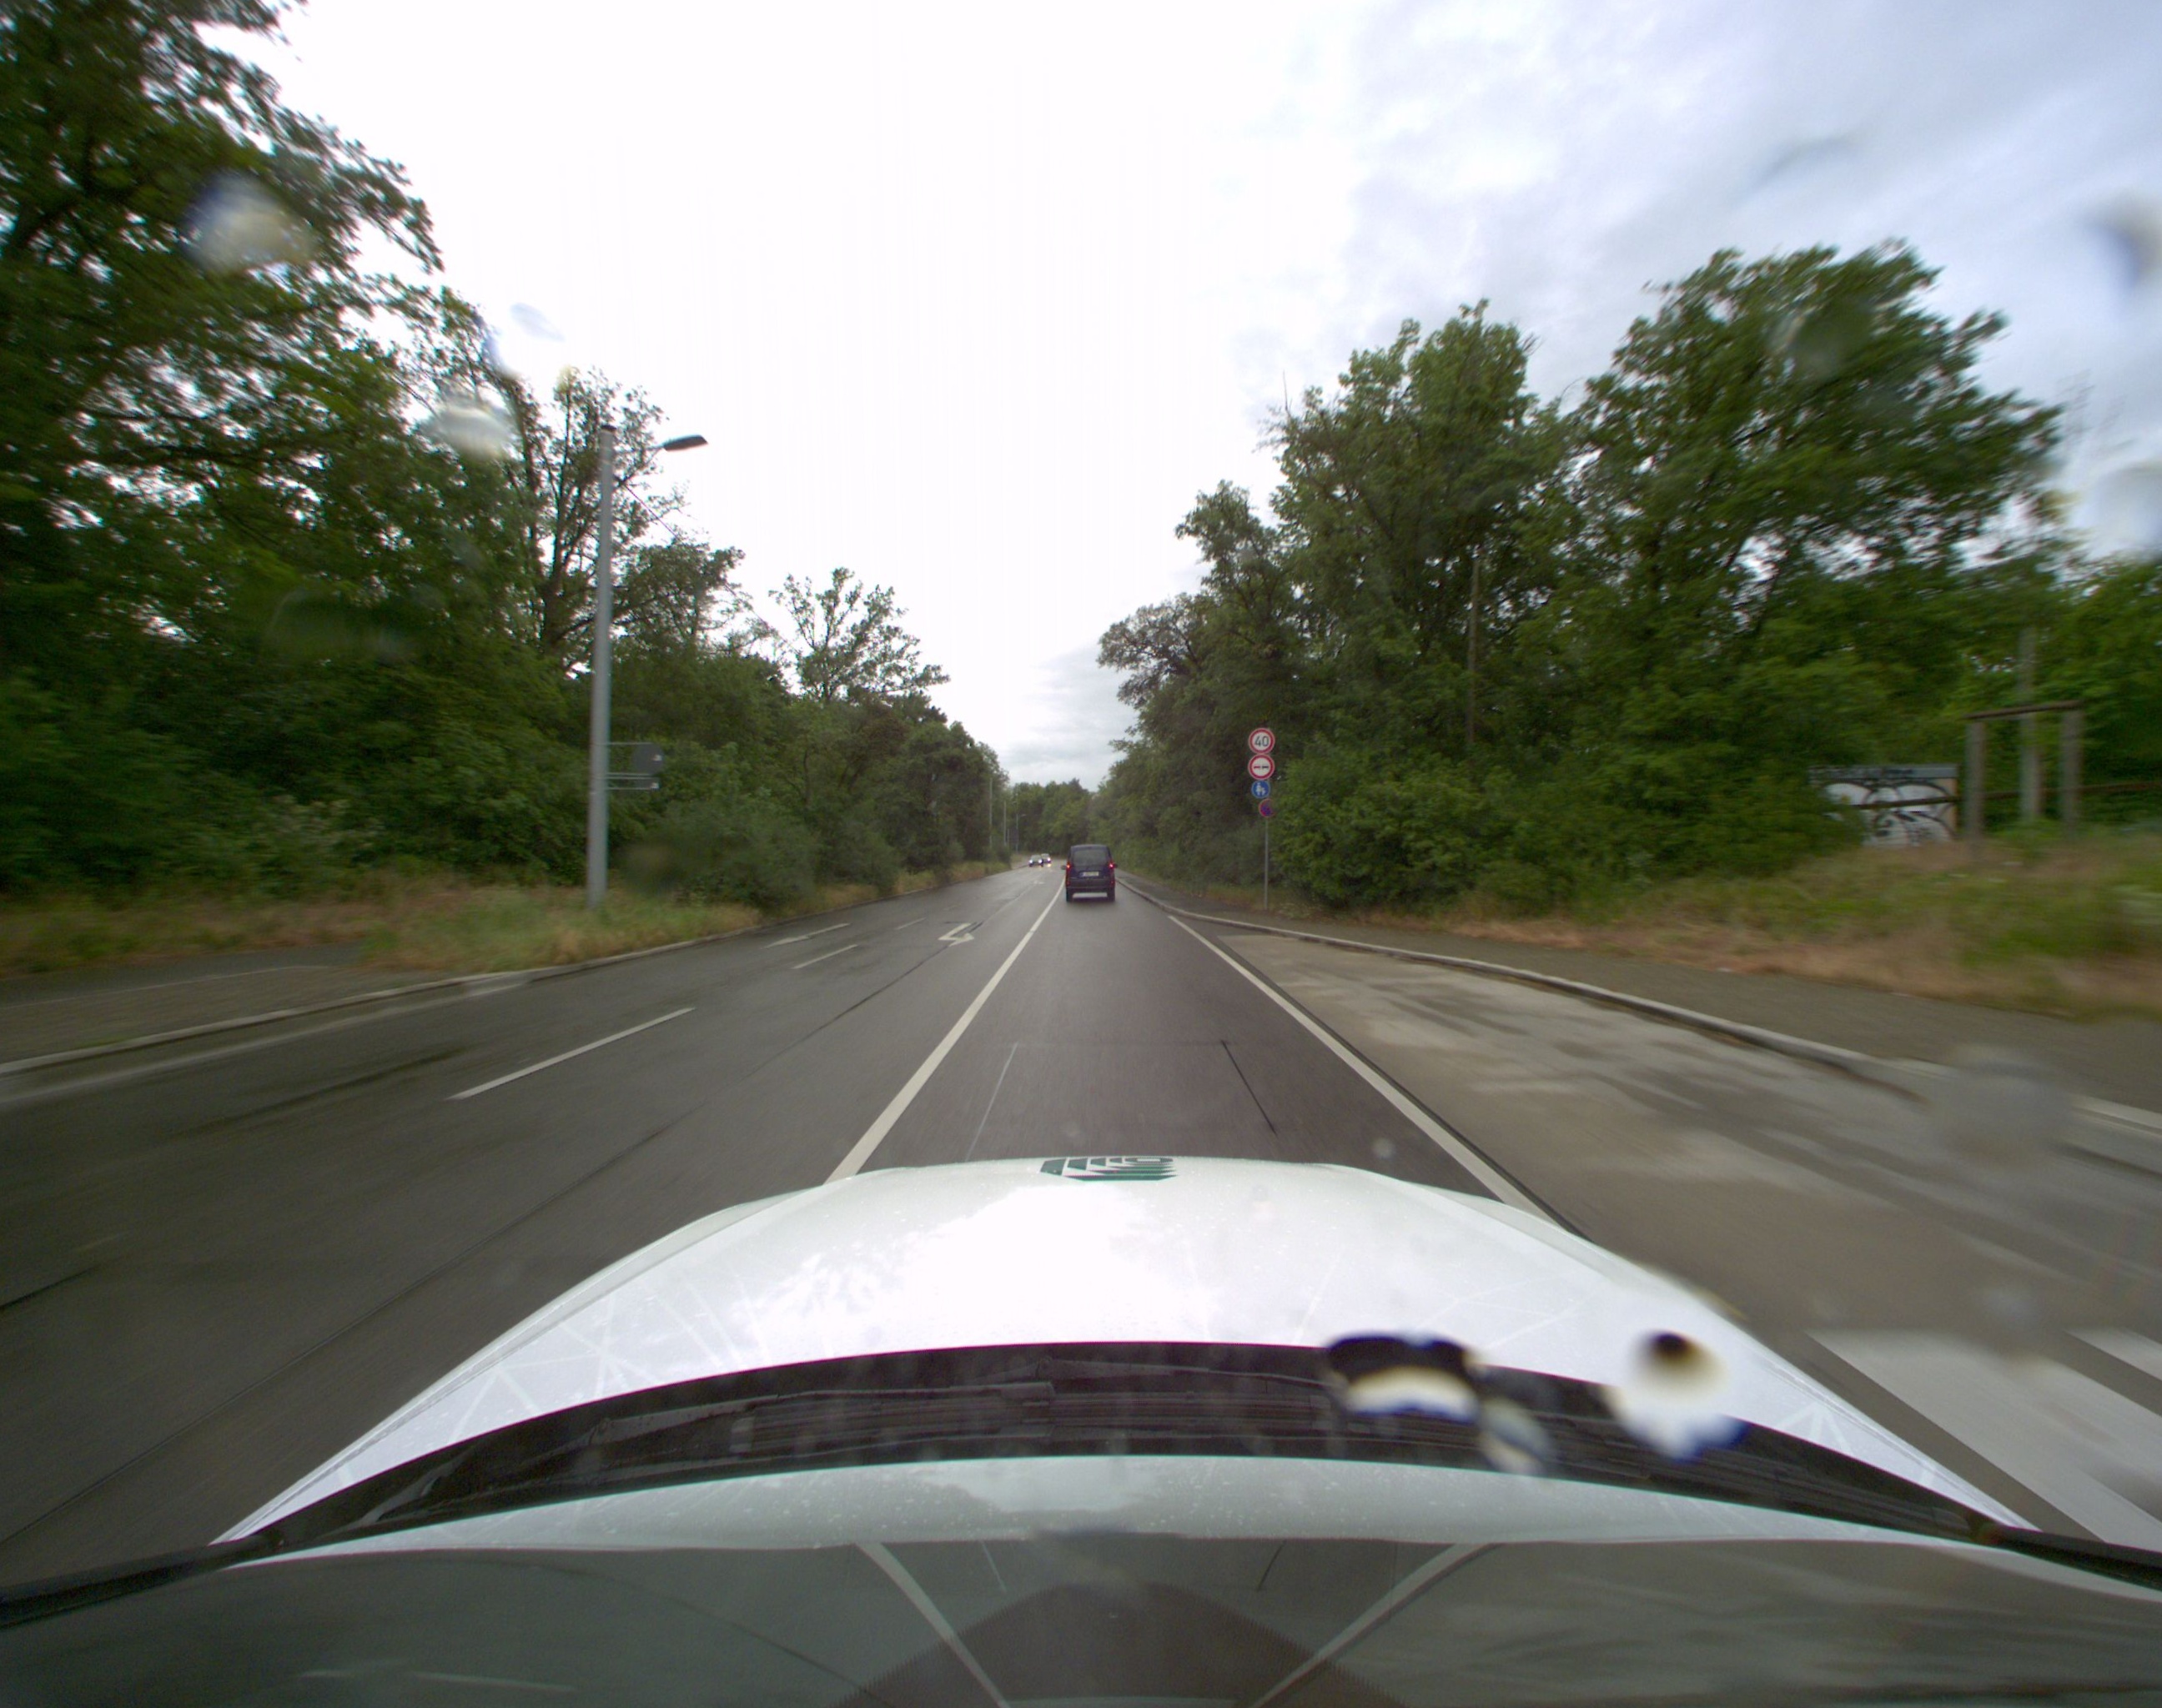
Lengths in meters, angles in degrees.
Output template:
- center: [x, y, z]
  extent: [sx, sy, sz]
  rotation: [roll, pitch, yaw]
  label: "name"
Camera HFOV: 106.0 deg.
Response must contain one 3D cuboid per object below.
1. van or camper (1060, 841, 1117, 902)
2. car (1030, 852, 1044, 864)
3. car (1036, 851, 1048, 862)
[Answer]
- center: [0.249, 0.537, 27.915]
  extent: [1.707, 1.825, 3.999]
  rotation: [-3, 0, 0]
  label: "van or camper"
- center: [-5.524, 0.501, 102.924]
  extent: [1.594, 1.441, 3.989]
  rotation: [-1, 0, -1]
  label: "car"
- center: [-6.036, 0.420, 126.666]
  extent: [1.766, 1.610, 4.083]
  rotation: [0, 0, 0]
  label: "car"
